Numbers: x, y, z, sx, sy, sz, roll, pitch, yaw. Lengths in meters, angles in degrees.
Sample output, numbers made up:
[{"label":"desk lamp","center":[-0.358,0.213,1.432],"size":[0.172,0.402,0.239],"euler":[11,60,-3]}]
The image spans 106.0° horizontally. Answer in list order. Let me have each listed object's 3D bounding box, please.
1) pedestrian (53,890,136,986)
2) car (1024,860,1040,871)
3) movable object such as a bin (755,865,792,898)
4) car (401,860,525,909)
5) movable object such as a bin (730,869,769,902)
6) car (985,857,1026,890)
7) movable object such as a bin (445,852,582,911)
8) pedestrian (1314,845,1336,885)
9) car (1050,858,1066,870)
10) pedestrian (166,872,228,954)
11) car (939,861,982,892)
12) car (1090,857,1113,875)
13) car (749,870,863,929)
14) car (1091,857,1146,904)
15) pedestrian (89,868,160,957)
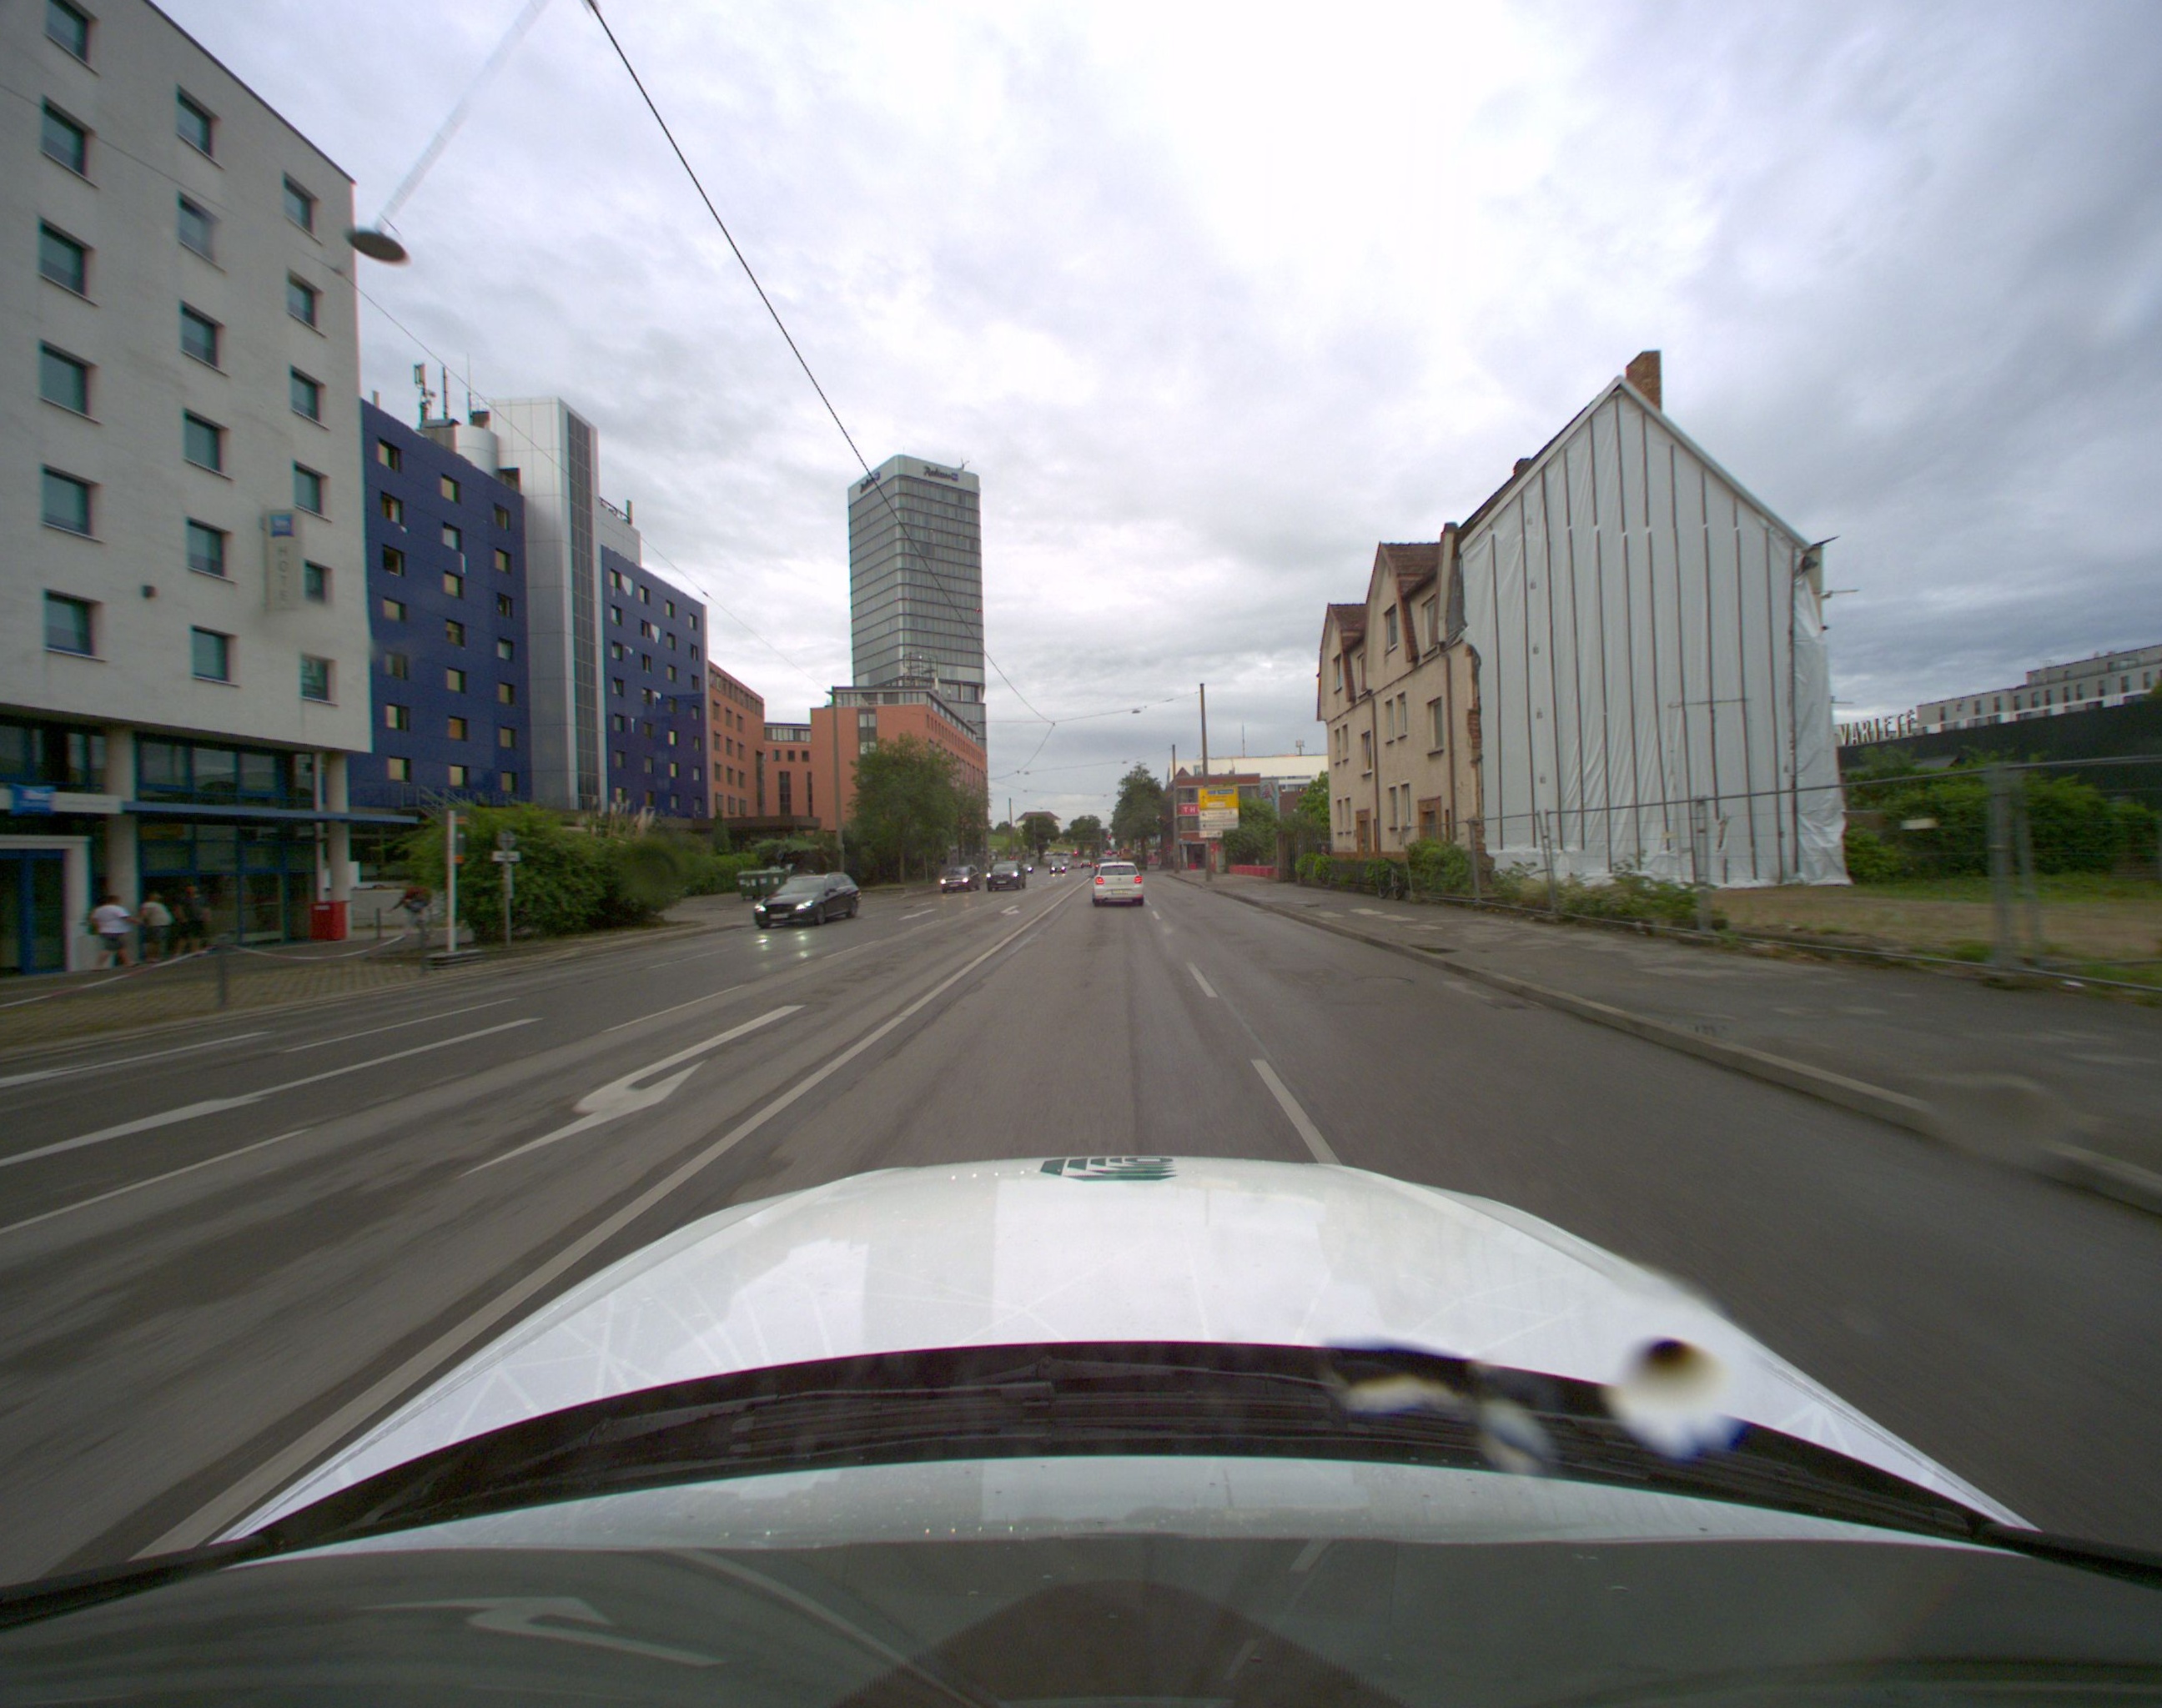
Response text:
[{"label":"pedestrian","center":[-21.751,1.823,17.977],"size":[0.799,2.014,0.816],"euler":[-4,-2,3]},{"label":"car","center":[-6.888,1.637,114.216],"size":[1.614,1.323,4.450],"euler":[-4,0,3]},{"label":"movable object such as a bin","center":[-14.961,1.349,39.638],"size":[1.389,1.491,0.949],"euler":[-4,-2,-8]},{"label":"car","center":[-30.685,1.515,40.509],"size":[4.694,2.014,1.893],"euler":[-4,-2,2]},{"label":"movable object such as a bin","center":[-16.429,1.559,40.370],"size":[1.380,1.491,0.955],"euler":[-5,-2,13]},{"label":"car","center":[-4.328,1.087,47.359],"size":[1.750,1.555,4.452],"euler":[-4,1,2]},{"label":"movable object such as a bin","center":[-29.787,1.467,42.886],"size":[5.604,2.628,2.162],"euler":[-4,-2,1]},{"label":"pedestrian","center":[10.902,0.495,36.397],"size":[0.904,1.764,0.770],"euler":[0,0,14]},{"label":"car","center":[-2.808,1.208,100.060],"size":[1.653,1.486,3.822],"euler":[-2,0,2]},{"label":"pedestrian","center":[-22.629,1.498,20.847],"size":[0.804,2.014,0.907],"euler":[-6,-3,32]},{"label":"car","center":[-7.232,1.329,49.155],"size":[1.701,1.566,4.037],"euler":[-4,0,2]},{"label":"car","center":[1.930,1.100,75.118],"size":[1.985,1.574,4.003],"euler":[-2,0,3]},{"label":"car","center":[-8.276,1.308,24.975],"size":[1.727,1.477,4.700],"euler":[-2,0,2]},{"label":"car","center":[1.224,0.868,28.106],"size":[1.666,1.474,3.778],"euler":[-2,0,0]},{"label":"pedestrian","center":[-22.879,1.384,19.498],"size":[0.817,2.014,0.798],"euler":[-3,-3,-26]}]
